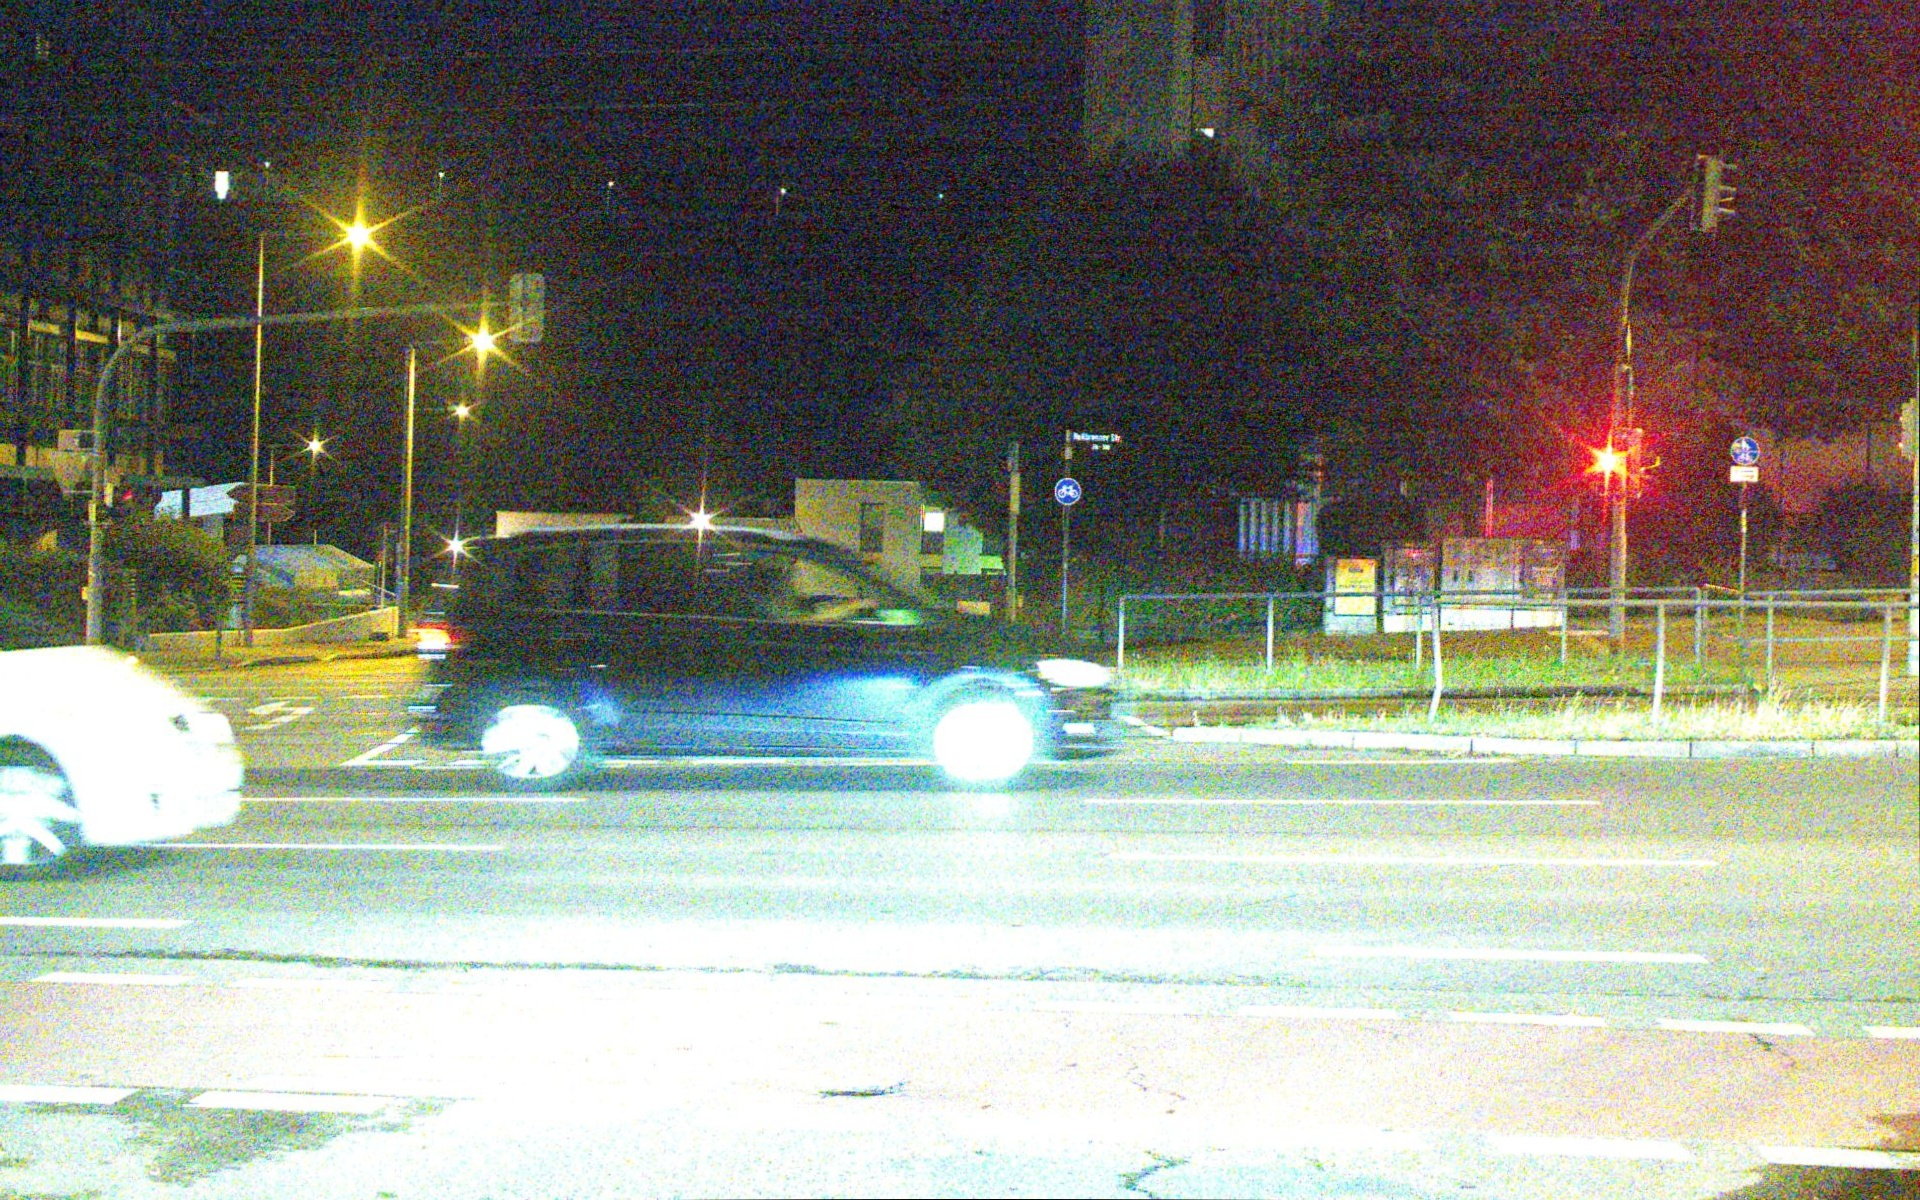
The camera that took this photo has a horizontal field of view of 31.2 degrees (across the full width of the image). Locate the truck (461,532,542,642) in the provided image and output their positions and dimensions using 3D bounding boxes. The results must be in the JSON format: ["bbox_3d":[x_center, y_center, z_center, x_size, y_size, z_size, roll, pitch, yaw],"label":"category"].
[{"bbox_3d":[-15.943,-0.468,119.271,2.582,3.694,5.739,1,1,-9],"label":"truck"}]

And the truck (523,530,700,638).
[{"bbox_3d":[-15.459,-0.759,151.231,4.821,4.531,12.669,1,1,-19],"label":"truck"}]

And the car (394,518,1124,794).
[{"bbox_3d":[-1.190,0.328,21.837,4.446,1.654,1.864,0,1,3],"label":"car"}]

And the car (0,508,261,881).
[{"bbox_3d":[-5.511,0.410,16.282,3.987,1.657,1.810,0,0,3],"label":"car"}]
